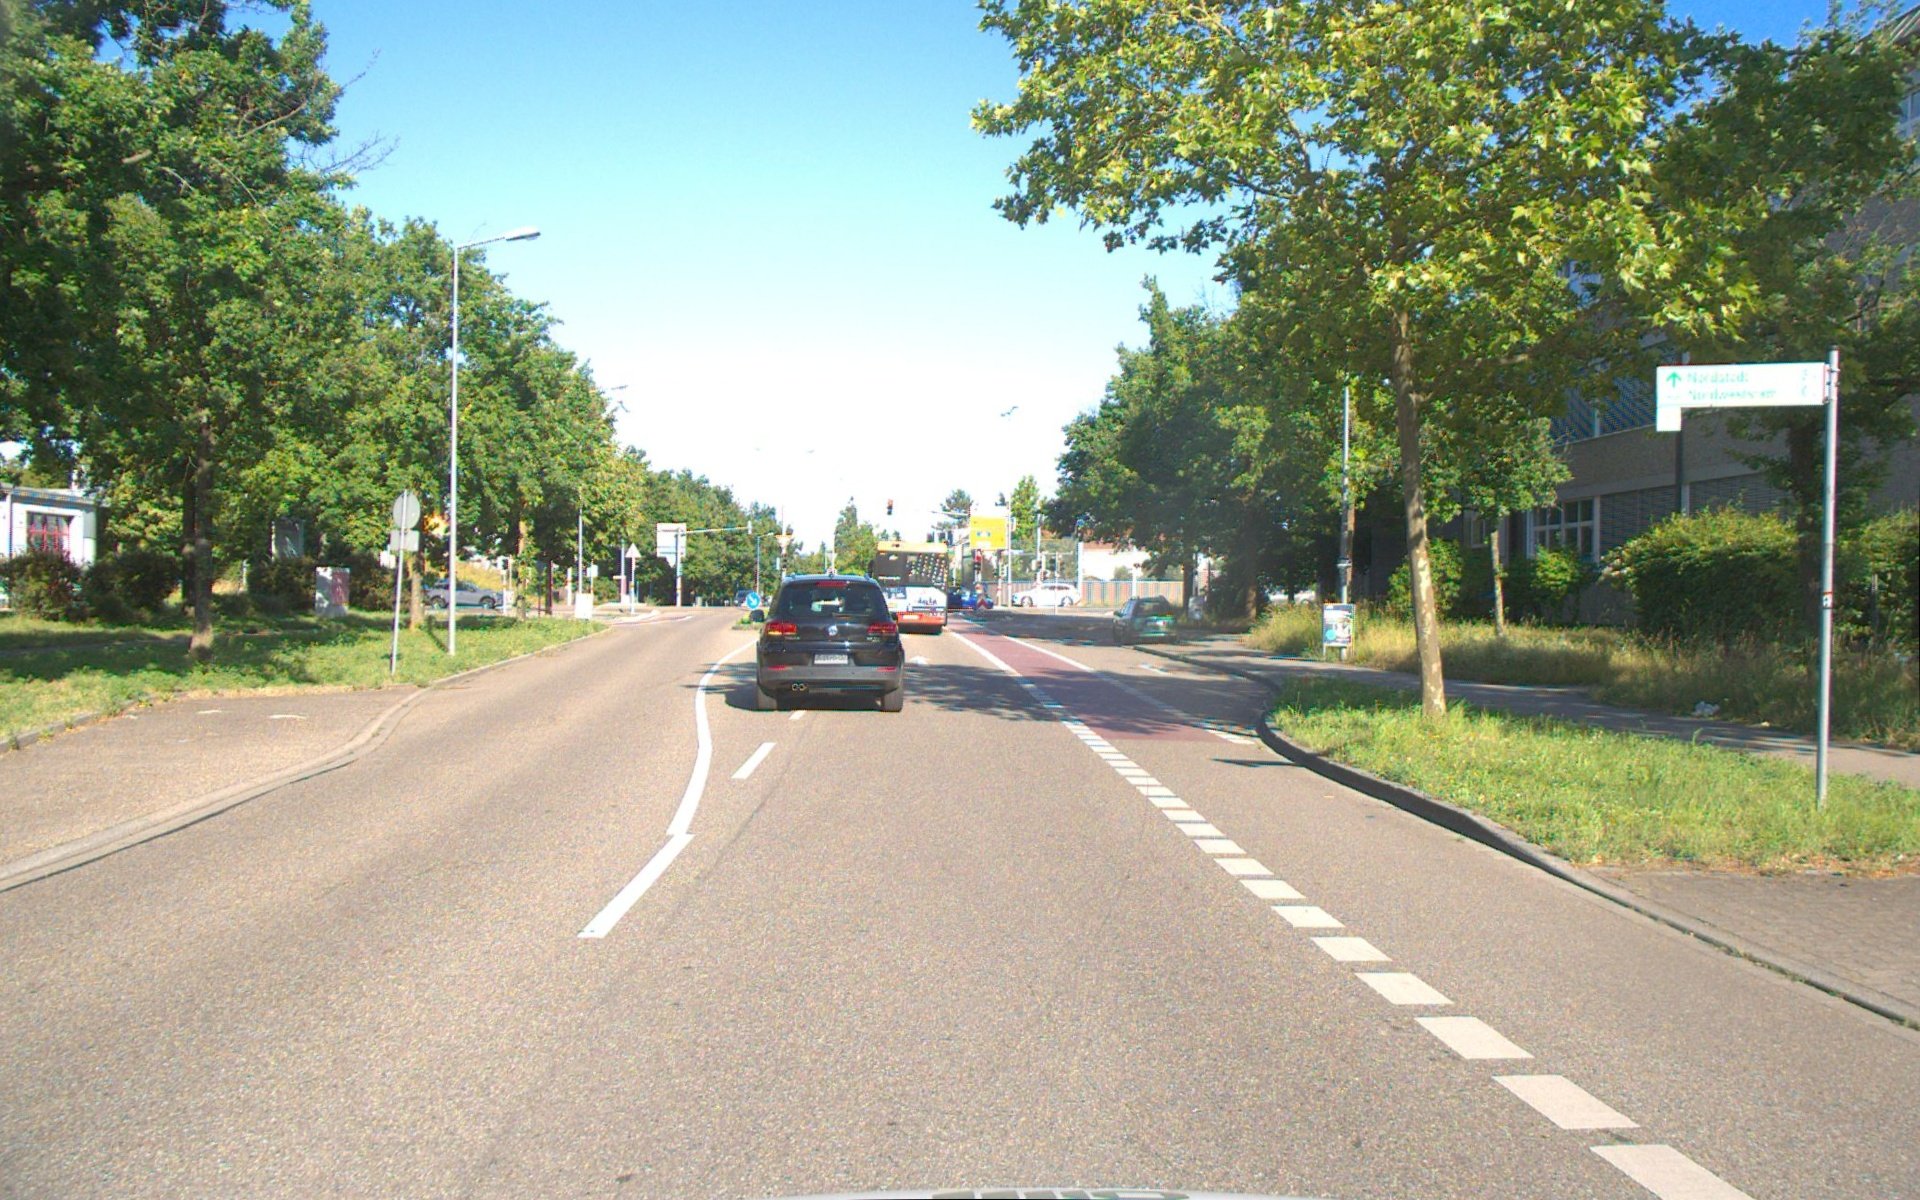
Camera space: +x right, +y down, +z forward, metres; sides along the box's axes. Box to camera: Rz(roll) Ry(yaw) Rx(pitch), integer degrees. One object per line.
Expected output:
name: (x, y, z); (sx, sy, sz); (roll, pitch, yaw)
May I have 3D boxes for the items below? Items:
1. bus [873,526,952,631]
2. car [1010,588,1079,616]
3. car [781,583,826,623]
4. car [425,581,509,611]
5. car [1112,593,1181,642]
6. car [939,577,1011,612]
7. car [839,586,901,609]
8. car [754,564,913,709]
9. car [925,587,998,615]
bus: (-1.859, -0.779, 60.938); (2.544, 3.392, 11.977); (2, 1, -3)
car: (5.543, 0.118, 109.112); (4.300, 1.713, 1.709); (2, 0, -7)
car: (-6.703, 0.125, 70.570); (1.721, 1.648, 4.025); (0, 0, -8)
car: (-27.125, -0.208, 91.167); (4.141, 1.506, 1.760); (2, 0, -7)
car: (5.818, 0.514, 52.051); (1.560, 1.453, 4.202); (-1, 0, -2)
car: (0.858, -0.326, 95.965); (3.911, 1.913, 1.997); (2, 0, -7)
car: (-5.852, -0.172, 107.502); (3.822, 1.363, 1.678); (2, 0, -11)
car: (-1.537, 0.438, 21.432); (1.784, 1.703, 4.002); (0, 0, -1)
car: (0.093, 0.056, 82.267); (3.447, 1.325, 1.576); (1, 0, 6)
